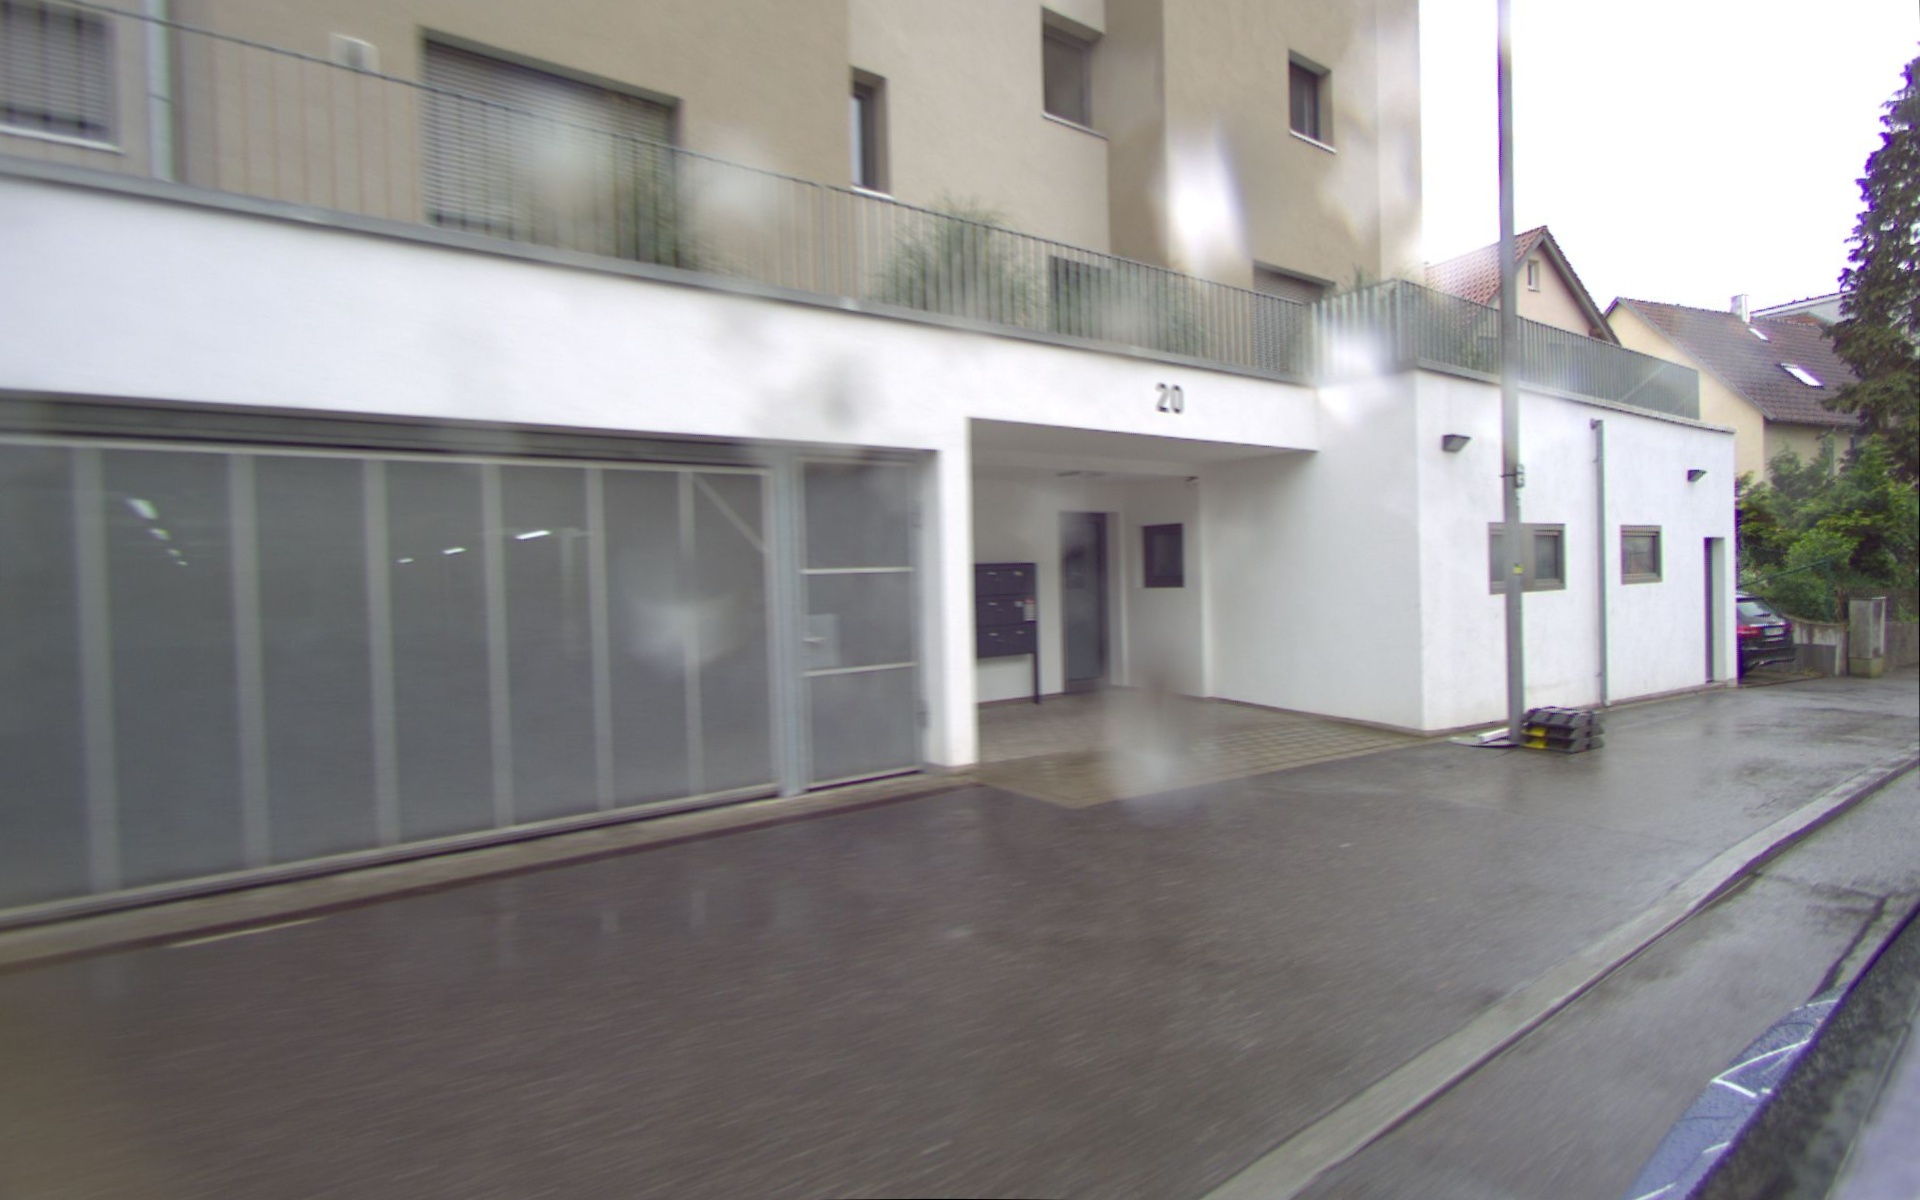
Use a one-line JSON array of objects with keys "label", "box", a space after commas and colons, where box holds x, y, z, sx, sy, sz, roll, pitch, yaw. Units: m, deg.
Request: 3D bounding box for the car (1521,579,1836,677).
[{"label": "car", "box": [12.216, 0.388, 17.522, 1.958, 1.476, 4.007, 0, 1, -25]}]
